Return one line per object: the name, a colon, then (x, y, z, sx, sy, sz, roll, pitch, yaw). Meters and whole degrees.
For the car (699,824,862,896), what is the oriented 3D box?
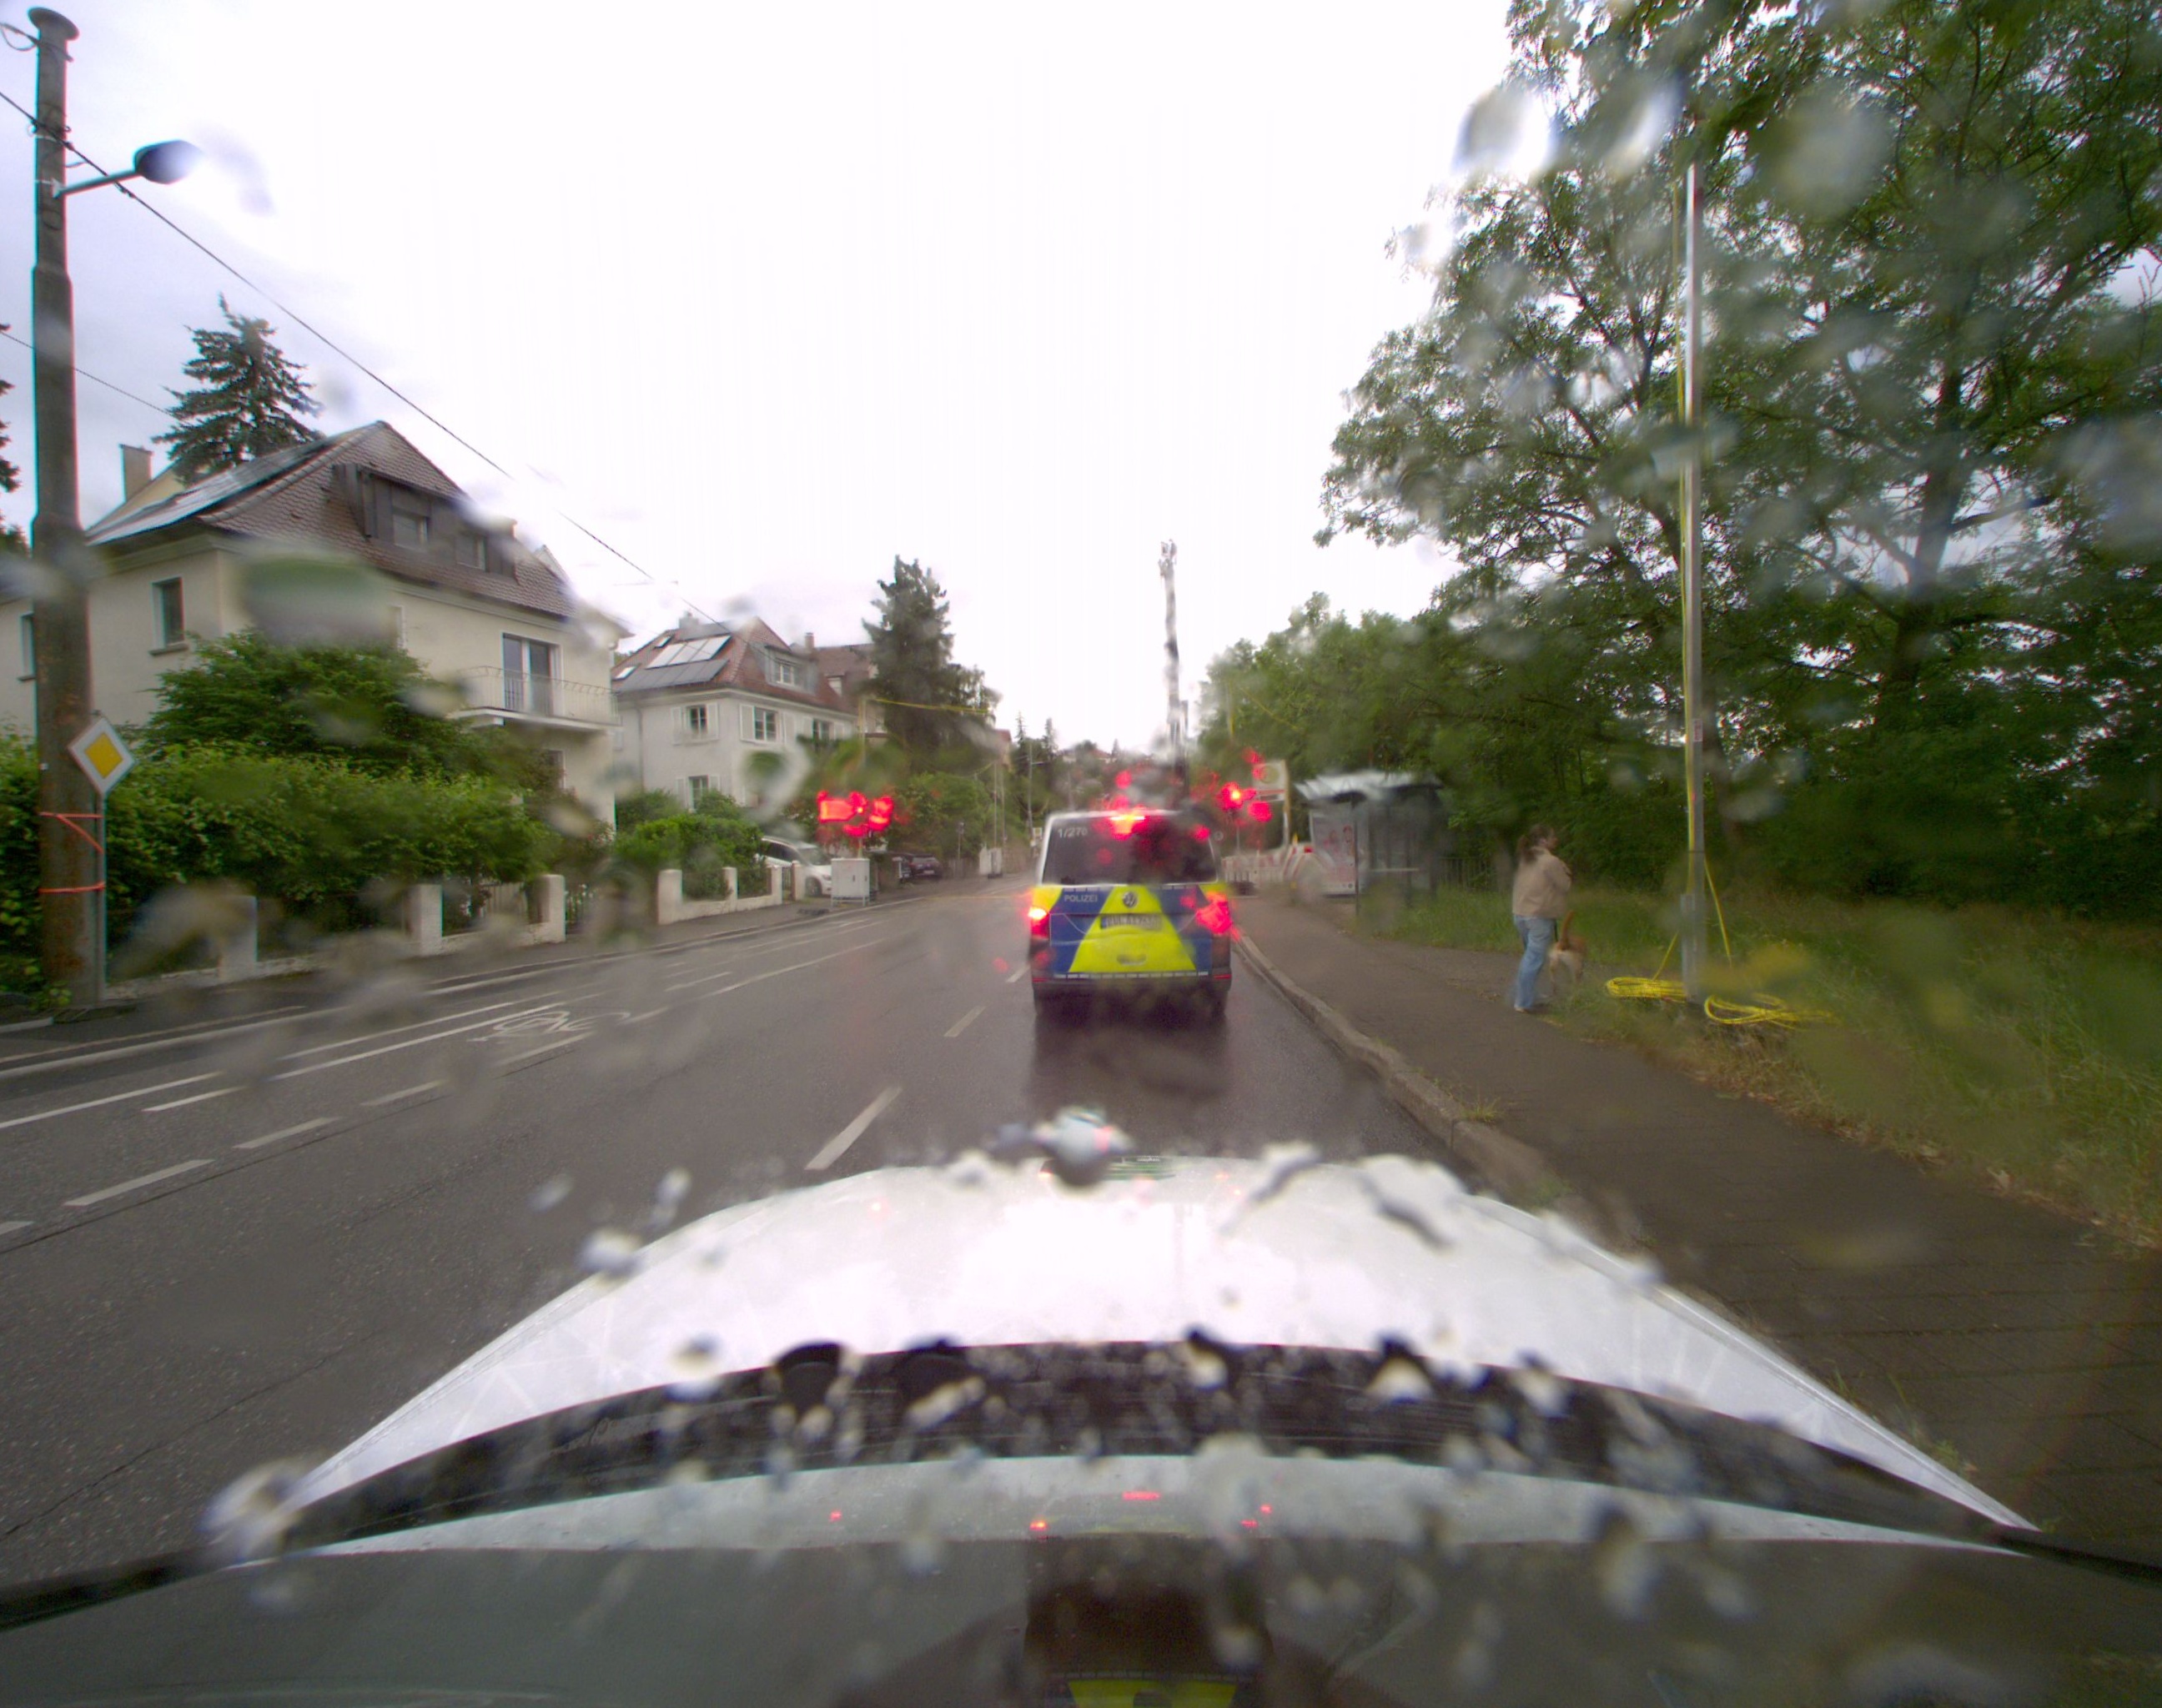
car: (-10.276, 0.136, 27.948, 4.927, 1.616, 1.872, 9, 4, 15)

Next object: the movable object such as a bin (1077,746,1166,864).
movable object such as a bin: (1.687, -1.809, 31.795, 2.862, 4.170, 4.499, -2, 1, 9)

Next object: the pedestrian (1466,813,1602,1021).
pedestrian: (3.781, 0.487, 6.810, 0.755, 1.604, 0.724, 0, -1, -36)

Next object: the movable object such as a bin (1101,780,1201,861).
movable object such as a bin: (4.924, -2.161, 55.931, 3.646, 5.066, 7.209, -3, -1, 34)

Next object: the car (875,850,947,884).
car: (-8.013, 0.570, 38.197, 1.795, 1.525, 3.955, 0, 0, -37)

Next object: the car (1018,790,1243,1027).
car: (0.494, 0.482, 9.163, 1.901, 2.010, 4.441, 0, -1, 2)

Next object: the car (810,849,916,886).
car: (-9.405, 0.569, 35.205, 3.958, 1.525, 1.948, -1, -1, 15)
